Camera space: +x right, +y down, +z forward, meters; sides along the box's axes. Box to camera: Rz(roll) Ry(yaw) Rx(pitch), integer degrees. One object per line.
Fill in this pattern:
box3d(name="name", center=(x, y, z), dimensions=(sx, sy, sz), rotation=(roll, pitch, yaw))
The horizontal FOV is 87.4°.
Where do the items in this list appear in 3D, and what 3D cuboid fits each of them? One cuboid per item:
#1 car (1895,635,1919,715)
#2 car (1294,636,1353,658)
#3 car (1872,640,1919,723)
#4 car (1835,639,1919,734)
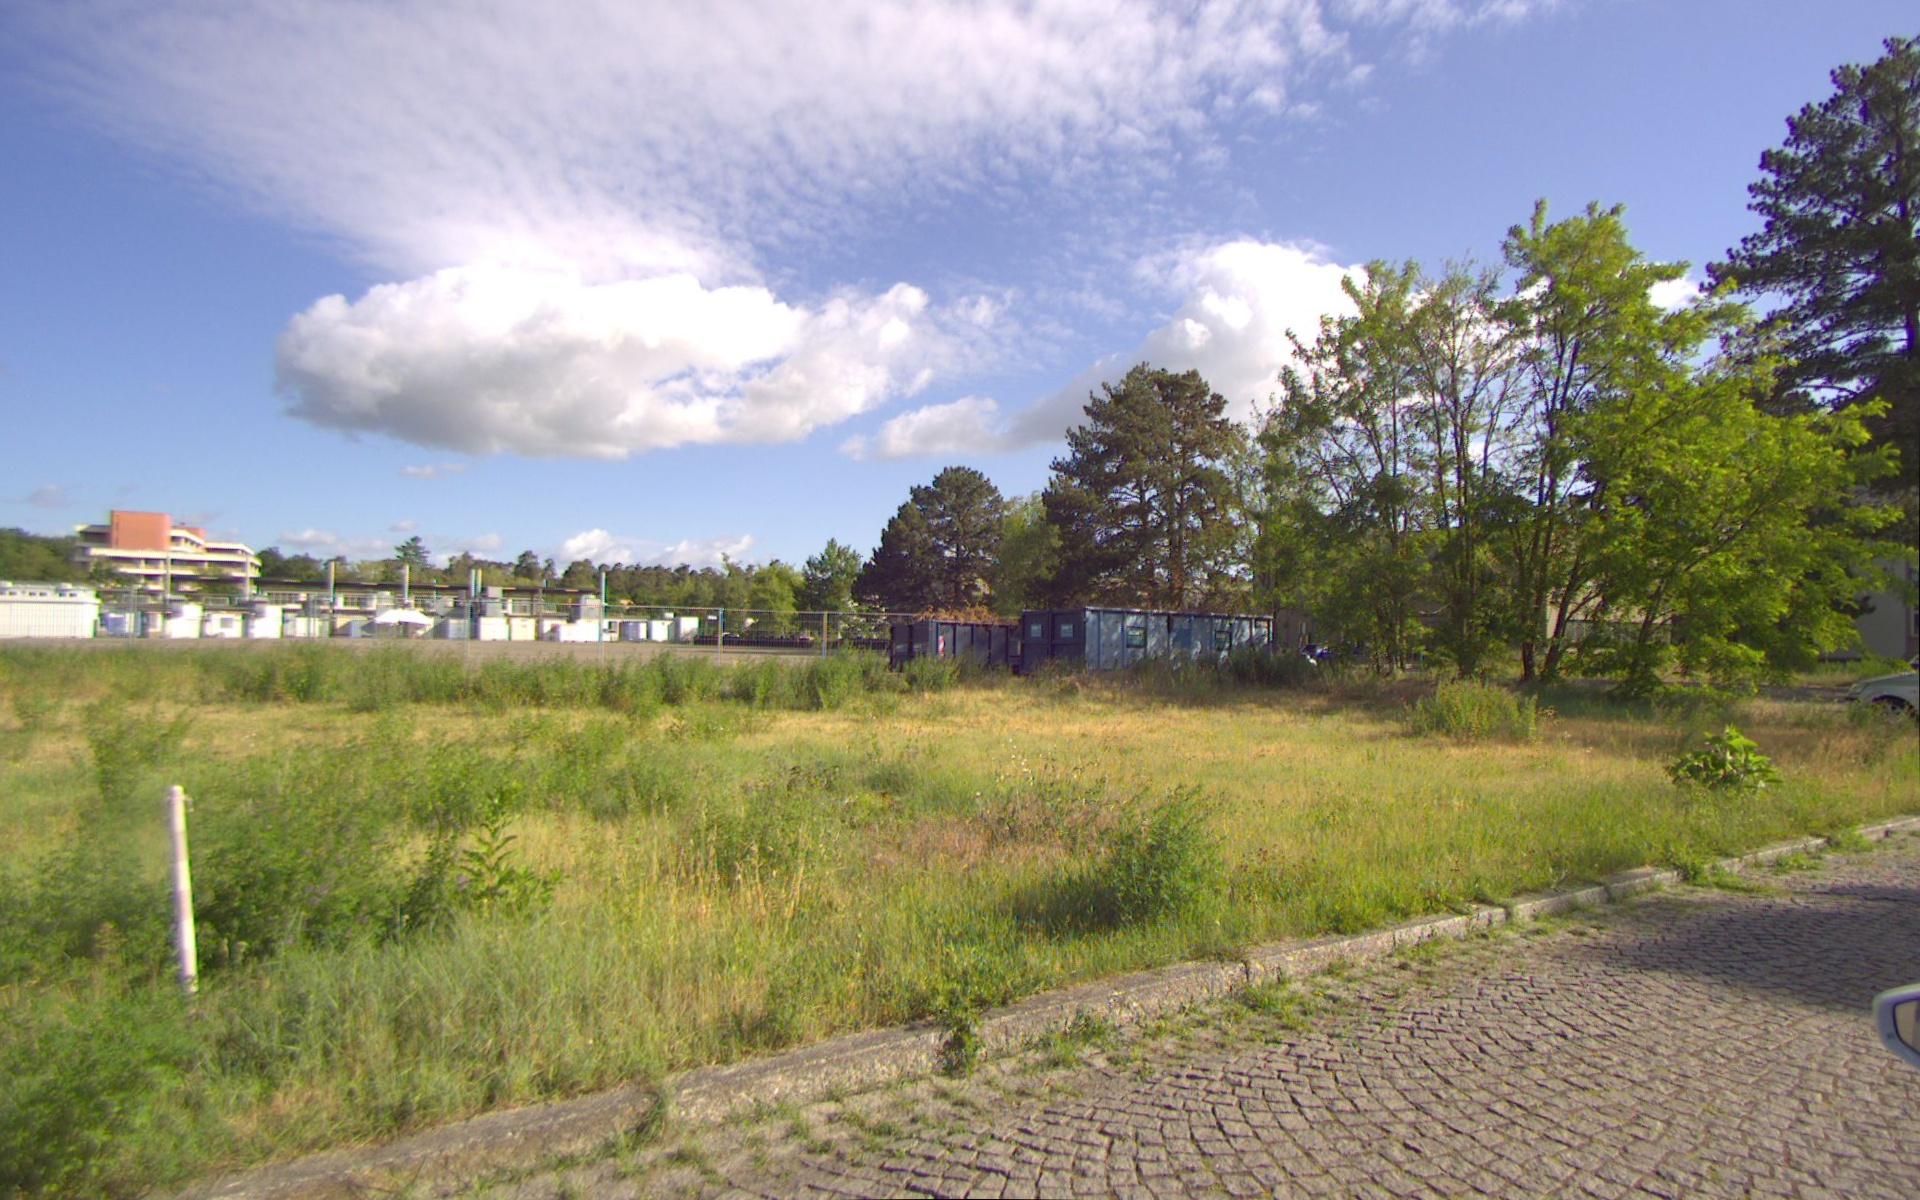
box3d(name="car", center=(21.427, 1.606, 19.796), dimensions=(1.865, 1.614, 4.055), rotation=(2, 0, -33))
box3d(name="car", center=(26.155, 3.379, 72.288), dimensions=(3.954, 1.452, 1.893), rotation=(3, -2, -31))
box3d(name="car", center=(19.149, 1.564, 17.889), dimensions=(1.784, 1.500, 3.963), rotation=(2, 0, -33))
box3d(name="car", center=(16.993, 1.496, 16.434), dimensions=(1.628, 1.507, 3.723), rotation=(2, 0, -33))
